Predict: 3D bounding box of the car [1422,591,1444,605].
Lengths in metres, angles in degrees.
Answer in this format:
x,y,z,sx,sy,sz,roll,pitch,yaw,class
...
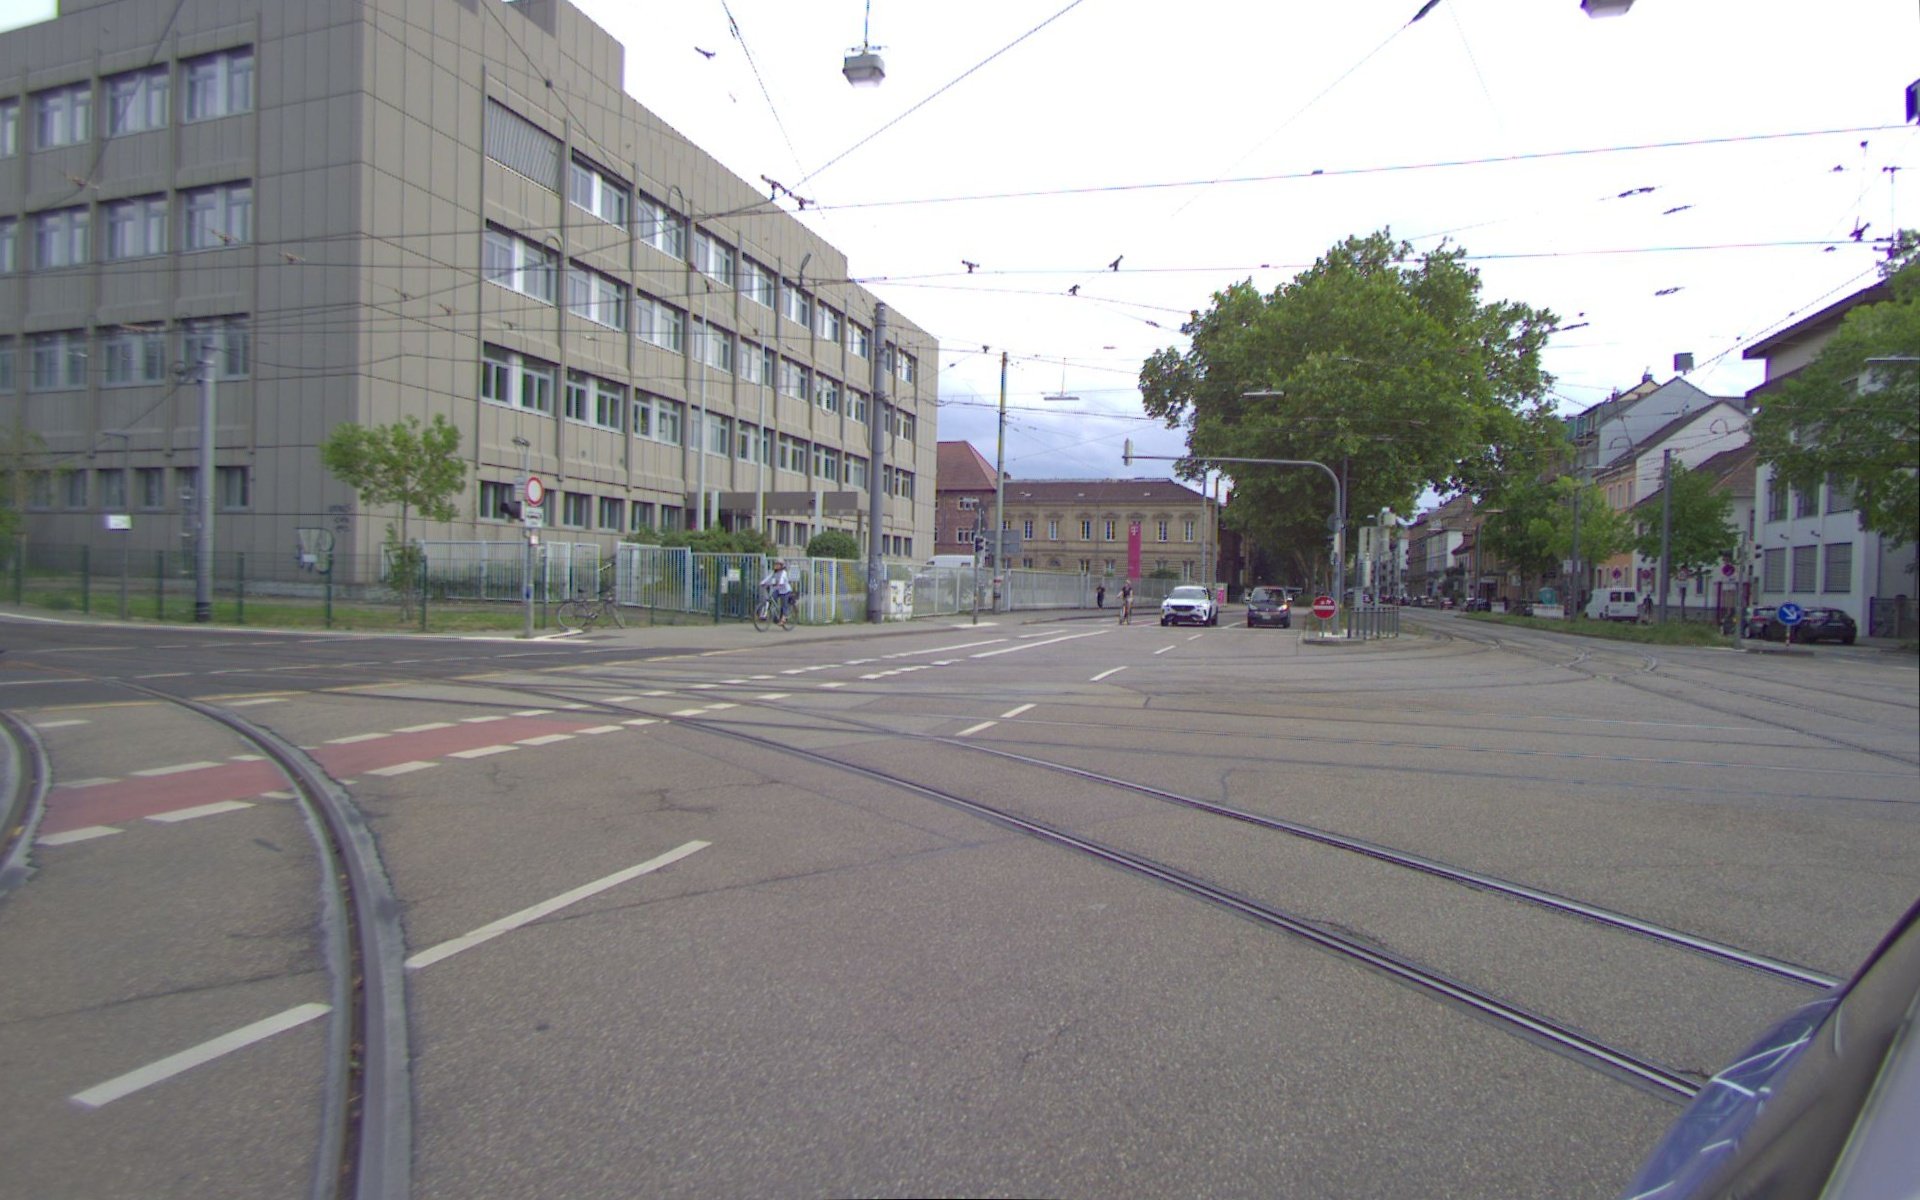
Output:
x,y,z,sx,sy,sz,roll,pitch,yaw,class
65.504,-0.305,140.232,2.070,1.829,4.396,2,2,18,car

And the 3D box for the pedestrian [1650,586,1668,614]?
x,y,z,sx,sy,sz,roll,pitch,yaw,class
46.751,-0.015,67.656,0.759,1.803,0.761,2,1,19,pedestrian

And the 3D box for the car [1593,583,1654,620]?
x,y,z,sx,sy,sz,roll,pitch,yaw,class
42.221,0.040,64.552,2.070,2.217,4.396,2,2,18,car

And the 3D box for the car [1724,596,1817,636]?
x,y,z,sx,sy,sz,roll,pitch,yaw,class
36.325,0.681,45.486,1.737,1.555,4.396,2,2,18,car

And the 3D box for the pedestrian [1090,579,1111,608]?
x,y,z,sx,sy,sz,roll,pitch,yaw,class
7.900,-0.368,56.865,0.875,1.589,0.972,2,2,25,pedestrian

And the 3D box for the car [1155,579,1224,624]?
x,y,z,sx,sy,sz,roll,pitch,yaw,class
8.738,0.009,38.253,1.975,1.523,4.392,2,2,20,car

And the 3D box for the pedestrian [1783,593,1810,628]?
x,y,z,sx,sy,sz,roll,pitch,yaw,class
41.530,0.499,50.272,0.759,1.670,0.761,2,1,20,pedestrian

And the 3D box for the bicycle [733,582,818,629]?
x,y,z,sx,sy,sz,roll,pitch,yaw,class
-4.566,0.139,25.164,0.797,1.100,2.158,2,1,33,bicycle

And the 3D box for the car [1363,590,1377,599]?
x,y,z,sx,sy,sz,roll,pitch,yaw,class
72.783,-0.967,179.735,1.820,1.510,3.731,1,0,14,car

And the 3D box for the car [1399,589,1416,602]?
x,y,z,sx,sy,sz,roll,pitch,yaw,class
72.418,-0.711,163.992,2.071,1.889,4.394,2,2,19,car

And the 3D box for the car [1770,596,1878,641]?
x,y,z,sx,sy,sz,roll,pitch,yaw,class
34.879,0.708,40.999,1.714,1.580,4.396,2,2,18,car

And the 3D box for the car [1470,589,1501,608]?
x,y,z,sx,sy,sz,roll,pitch,yaw,class
54.844,-0.212,105.746,2.070,1.829,4.396,2,2,18,car

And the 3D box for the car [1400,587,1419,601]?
x,y,z,sx,sy,sz,roll,pitch,yaw,class
68.031,-0.921,153.148,2.071,1.889,4.394,2,2,18,car

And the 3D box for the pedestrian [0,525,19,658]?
x,y,z,sx,sy,sz,roll,pitch,yaw,class
-14.034,-0.132,14.239,0.895,1.878,0.981,2,2,32,pedestrian

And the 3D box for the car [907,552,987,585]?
x,y,z,sx,sy,sz,roll,pitch,yaw,class
-1.021,-2.474,80.002,5.818,2.429,2.556,2,1,16,car

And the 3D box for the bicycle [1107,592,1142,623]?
x,y,z,sx,sy,sz,roll,pitch,yaw,class
6.411,0.284,39.382,0.793,1.100,2.544,2,2,22,bicycle

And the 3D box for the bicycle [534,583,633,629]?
x,y,z,sx,sy,sz,roll,pitch,yaw,class
-8.903,0.129,23.970,2.115,0.992,0.635,-2,3,-28,bicycle

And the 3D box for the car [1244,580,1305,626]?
x,y,z,sx,sy,sz,roll,pitch,yaw,class
12.040,0.065,38.576,1.816,1.586,4.387,2,2,23,car

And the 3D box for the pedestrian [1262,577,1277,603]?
x,y,z,sx,sy,sz,roll,pitch,yaw,class
22.870,-0.726,74.834,0.829,1.888,1.164,2,1,28,pedestrian

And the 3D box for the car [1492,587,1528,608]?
x,y,z,sx,sy,sz,roll,pitch,yaw,class
51.829,-0.234,95.441,2.070,1.829,4.396,2,2,18,car

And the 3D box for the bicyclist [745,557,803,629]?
x,y,z,sx,sy,sz,roll,pitch,yaw,class
-4.598,-0.166,25.098,0.797,1.723,1.168,2,1,34,bicyclist

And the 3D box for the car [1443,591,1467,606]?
x,y,z,sx,sy,sz,roll,pitch,yaw,class
62.818,-0.197,128.508,2.070,1.829,4.396,2,2,18,car

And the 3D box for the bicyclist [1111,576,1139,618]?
x,y,z,sx,sy,sz,roll,pitch,yaw,class
6.429,-0.123,39.395,0.793,1.569,1.319,2,2,22,bicyclist

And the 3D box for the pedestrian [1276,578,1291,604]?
x,y,z,sx,sy,sz,roll,pitch,yaw,class
23.777,-0.653,74.313,0.829,1.888,1.239,2,1,28,pedestrian
